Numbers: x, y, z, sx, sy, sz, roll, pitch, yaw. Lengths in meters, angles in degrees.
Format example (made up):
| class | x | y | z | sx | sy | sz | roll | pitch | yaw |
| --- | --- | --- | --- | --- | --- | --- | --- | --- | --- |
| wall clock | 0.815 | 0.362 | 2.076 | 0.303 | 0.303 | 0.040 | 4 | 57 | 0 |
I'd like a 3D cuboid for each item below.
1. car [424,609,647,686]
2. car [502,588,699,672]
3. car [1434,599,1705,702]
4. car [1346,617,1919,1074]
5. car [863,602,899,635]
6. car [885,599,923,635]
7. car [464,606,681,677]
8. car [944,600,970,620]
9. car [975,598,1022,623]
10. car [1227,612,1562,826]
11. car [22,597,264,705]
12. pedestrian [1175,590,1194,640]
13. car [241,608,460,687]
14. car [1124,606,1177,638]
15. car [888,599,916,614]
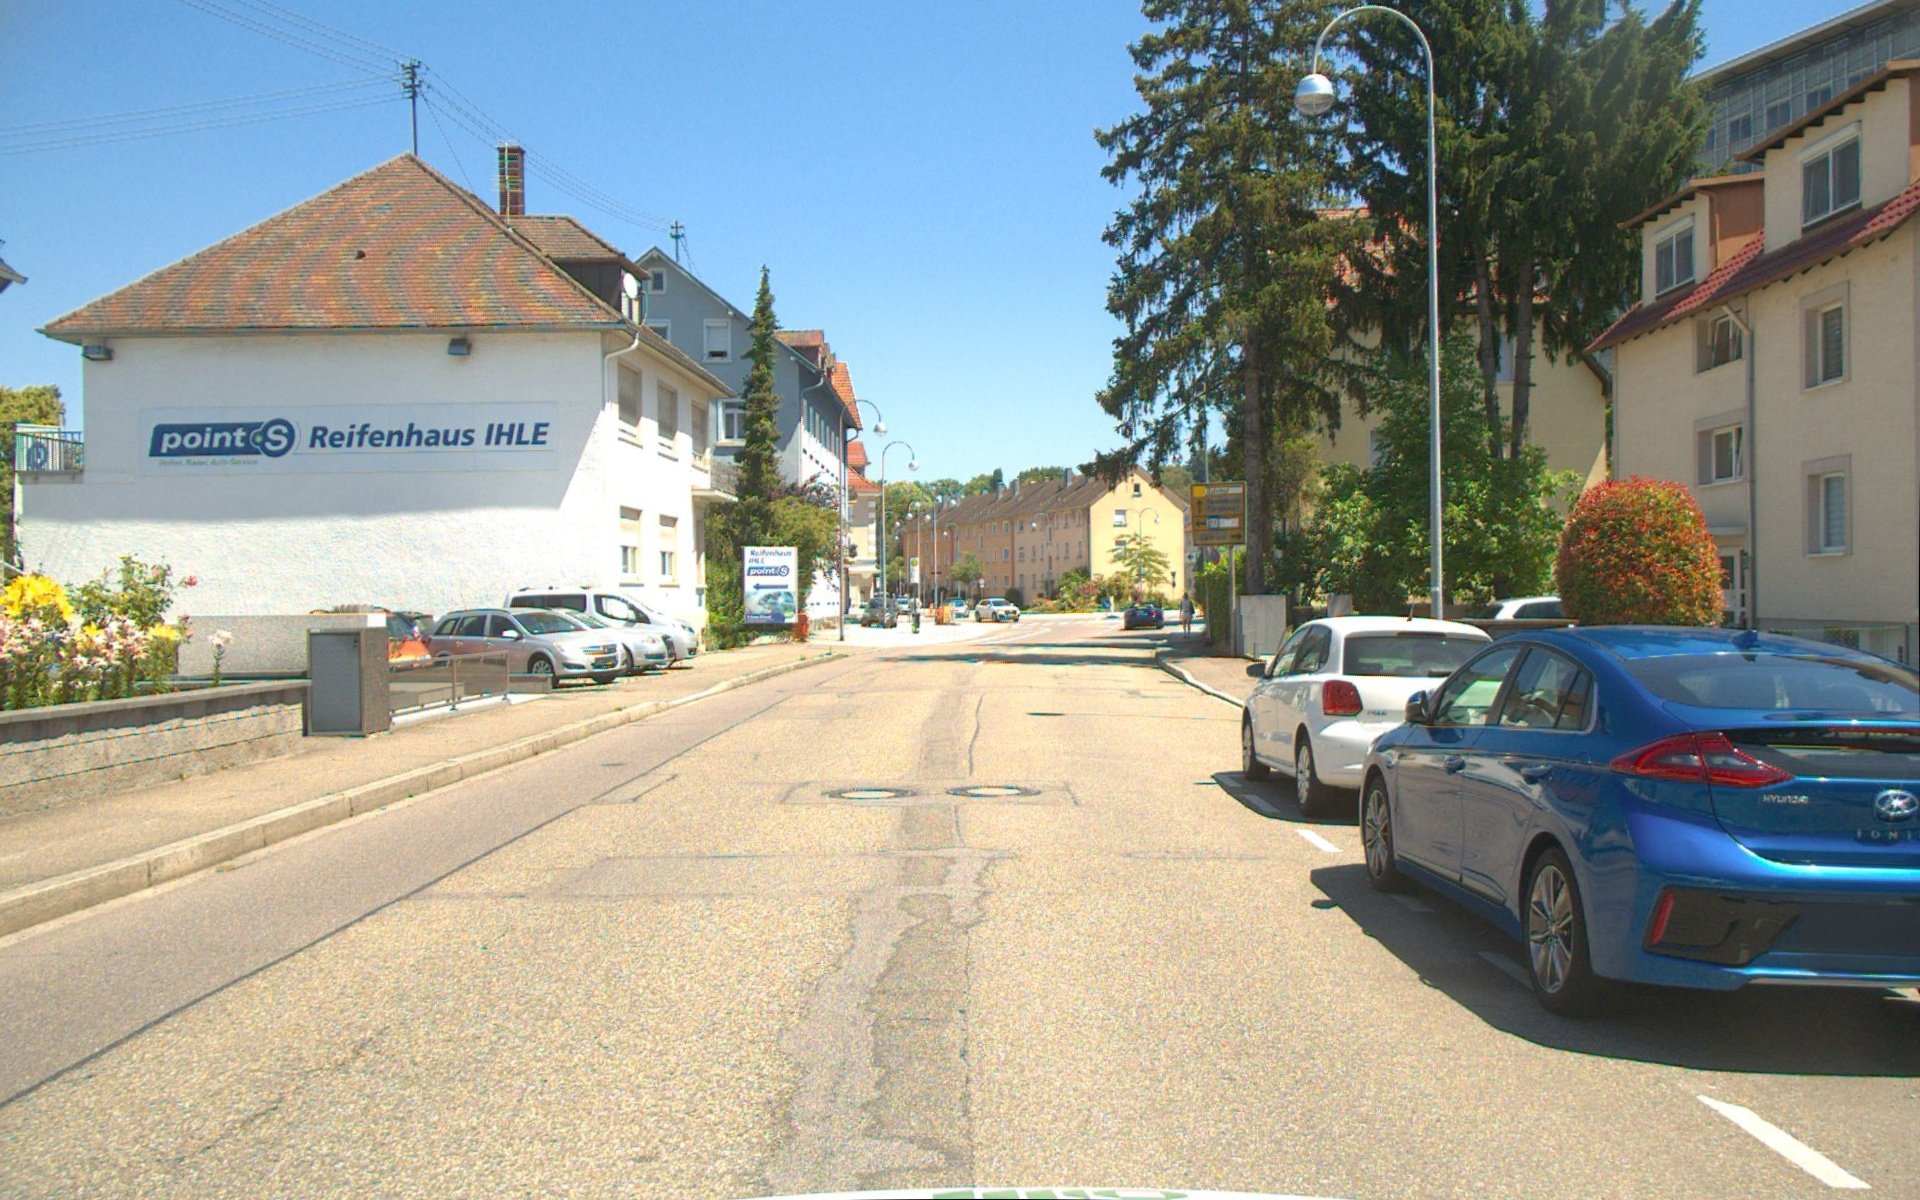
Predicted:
| class | x | y | z | sx | sy | sz | roll | pitch | yaw |
| --- | --- | --- | --- | --- | --- | --- | --- | --- | --- |
| car | -8.039 | 0.854 | 31.256 | 4.057 | 1.367 | 1.905 | 0 | 0 | 34 |
| car | -7.937 | 0.647 | 36.811 | 4.047 | 1.805 | 1.827 | 0 | 0 | -4 |
| car | 10.190 | 0.828 | 27.856 | 3.905 | 1.639 | 1.833 | 1 | 0 | 0 |
| car | 3.131 | 0.829 | 7.512 | 1.741 | 1.430 | 4.286 | 2 | 0 | 0 |
| car | -4.168 | 0.966 | 87.253 | 1.721 | 1.685 | 3.999 | 0 | 0 | 0 |
| car | -2.676 | 0.787 | 79.426 | 1.721 | 1.685 | 3.999 | 0 | 0 | 0 |
| car | -7.948 | 0.835 | 34.162 | 4.044 | 1.419 | 1.828 | 0 | 0 | -1 |
| car | -0.244 | 0.796 | 135.189 | 1.759 | 1.537 | 3.996 | -2 | 0 | -5 |
| car | 2.586 | 0.682 | 111.372 | 1.581 | 1.635 | 3.370 | 0 | 0 | -33 |
| car | 3.367 | 0.849 | 13.594 | 1.689 | 1.444 | 4.014 | 2 | 0 | 0 |
| car | -12.722 | 0.735 | 25.683 | 3.920 | 1.537 | 1.793 | 0 | 0 | 36 |
| pedestrian | 8.255 | 0.555 | 60.774 | 0.674 | 1.802 | 0.691 | 0 | -2 | 7 |
| car | -11.346 | 0.845 | 30.729 | 4.057 | 1.367 | 1.828 | 0 | 0 | 34 |
| car | 9.469 | 1.101 | 81.956 | 1.757 | 1.537 | 4.001 | 0 | -1 | 19 |
| car | -6.386 | 0.750 | 181.953 | 1.770 | 1.537 | 3.972 | -2 | 0 | -23 |
